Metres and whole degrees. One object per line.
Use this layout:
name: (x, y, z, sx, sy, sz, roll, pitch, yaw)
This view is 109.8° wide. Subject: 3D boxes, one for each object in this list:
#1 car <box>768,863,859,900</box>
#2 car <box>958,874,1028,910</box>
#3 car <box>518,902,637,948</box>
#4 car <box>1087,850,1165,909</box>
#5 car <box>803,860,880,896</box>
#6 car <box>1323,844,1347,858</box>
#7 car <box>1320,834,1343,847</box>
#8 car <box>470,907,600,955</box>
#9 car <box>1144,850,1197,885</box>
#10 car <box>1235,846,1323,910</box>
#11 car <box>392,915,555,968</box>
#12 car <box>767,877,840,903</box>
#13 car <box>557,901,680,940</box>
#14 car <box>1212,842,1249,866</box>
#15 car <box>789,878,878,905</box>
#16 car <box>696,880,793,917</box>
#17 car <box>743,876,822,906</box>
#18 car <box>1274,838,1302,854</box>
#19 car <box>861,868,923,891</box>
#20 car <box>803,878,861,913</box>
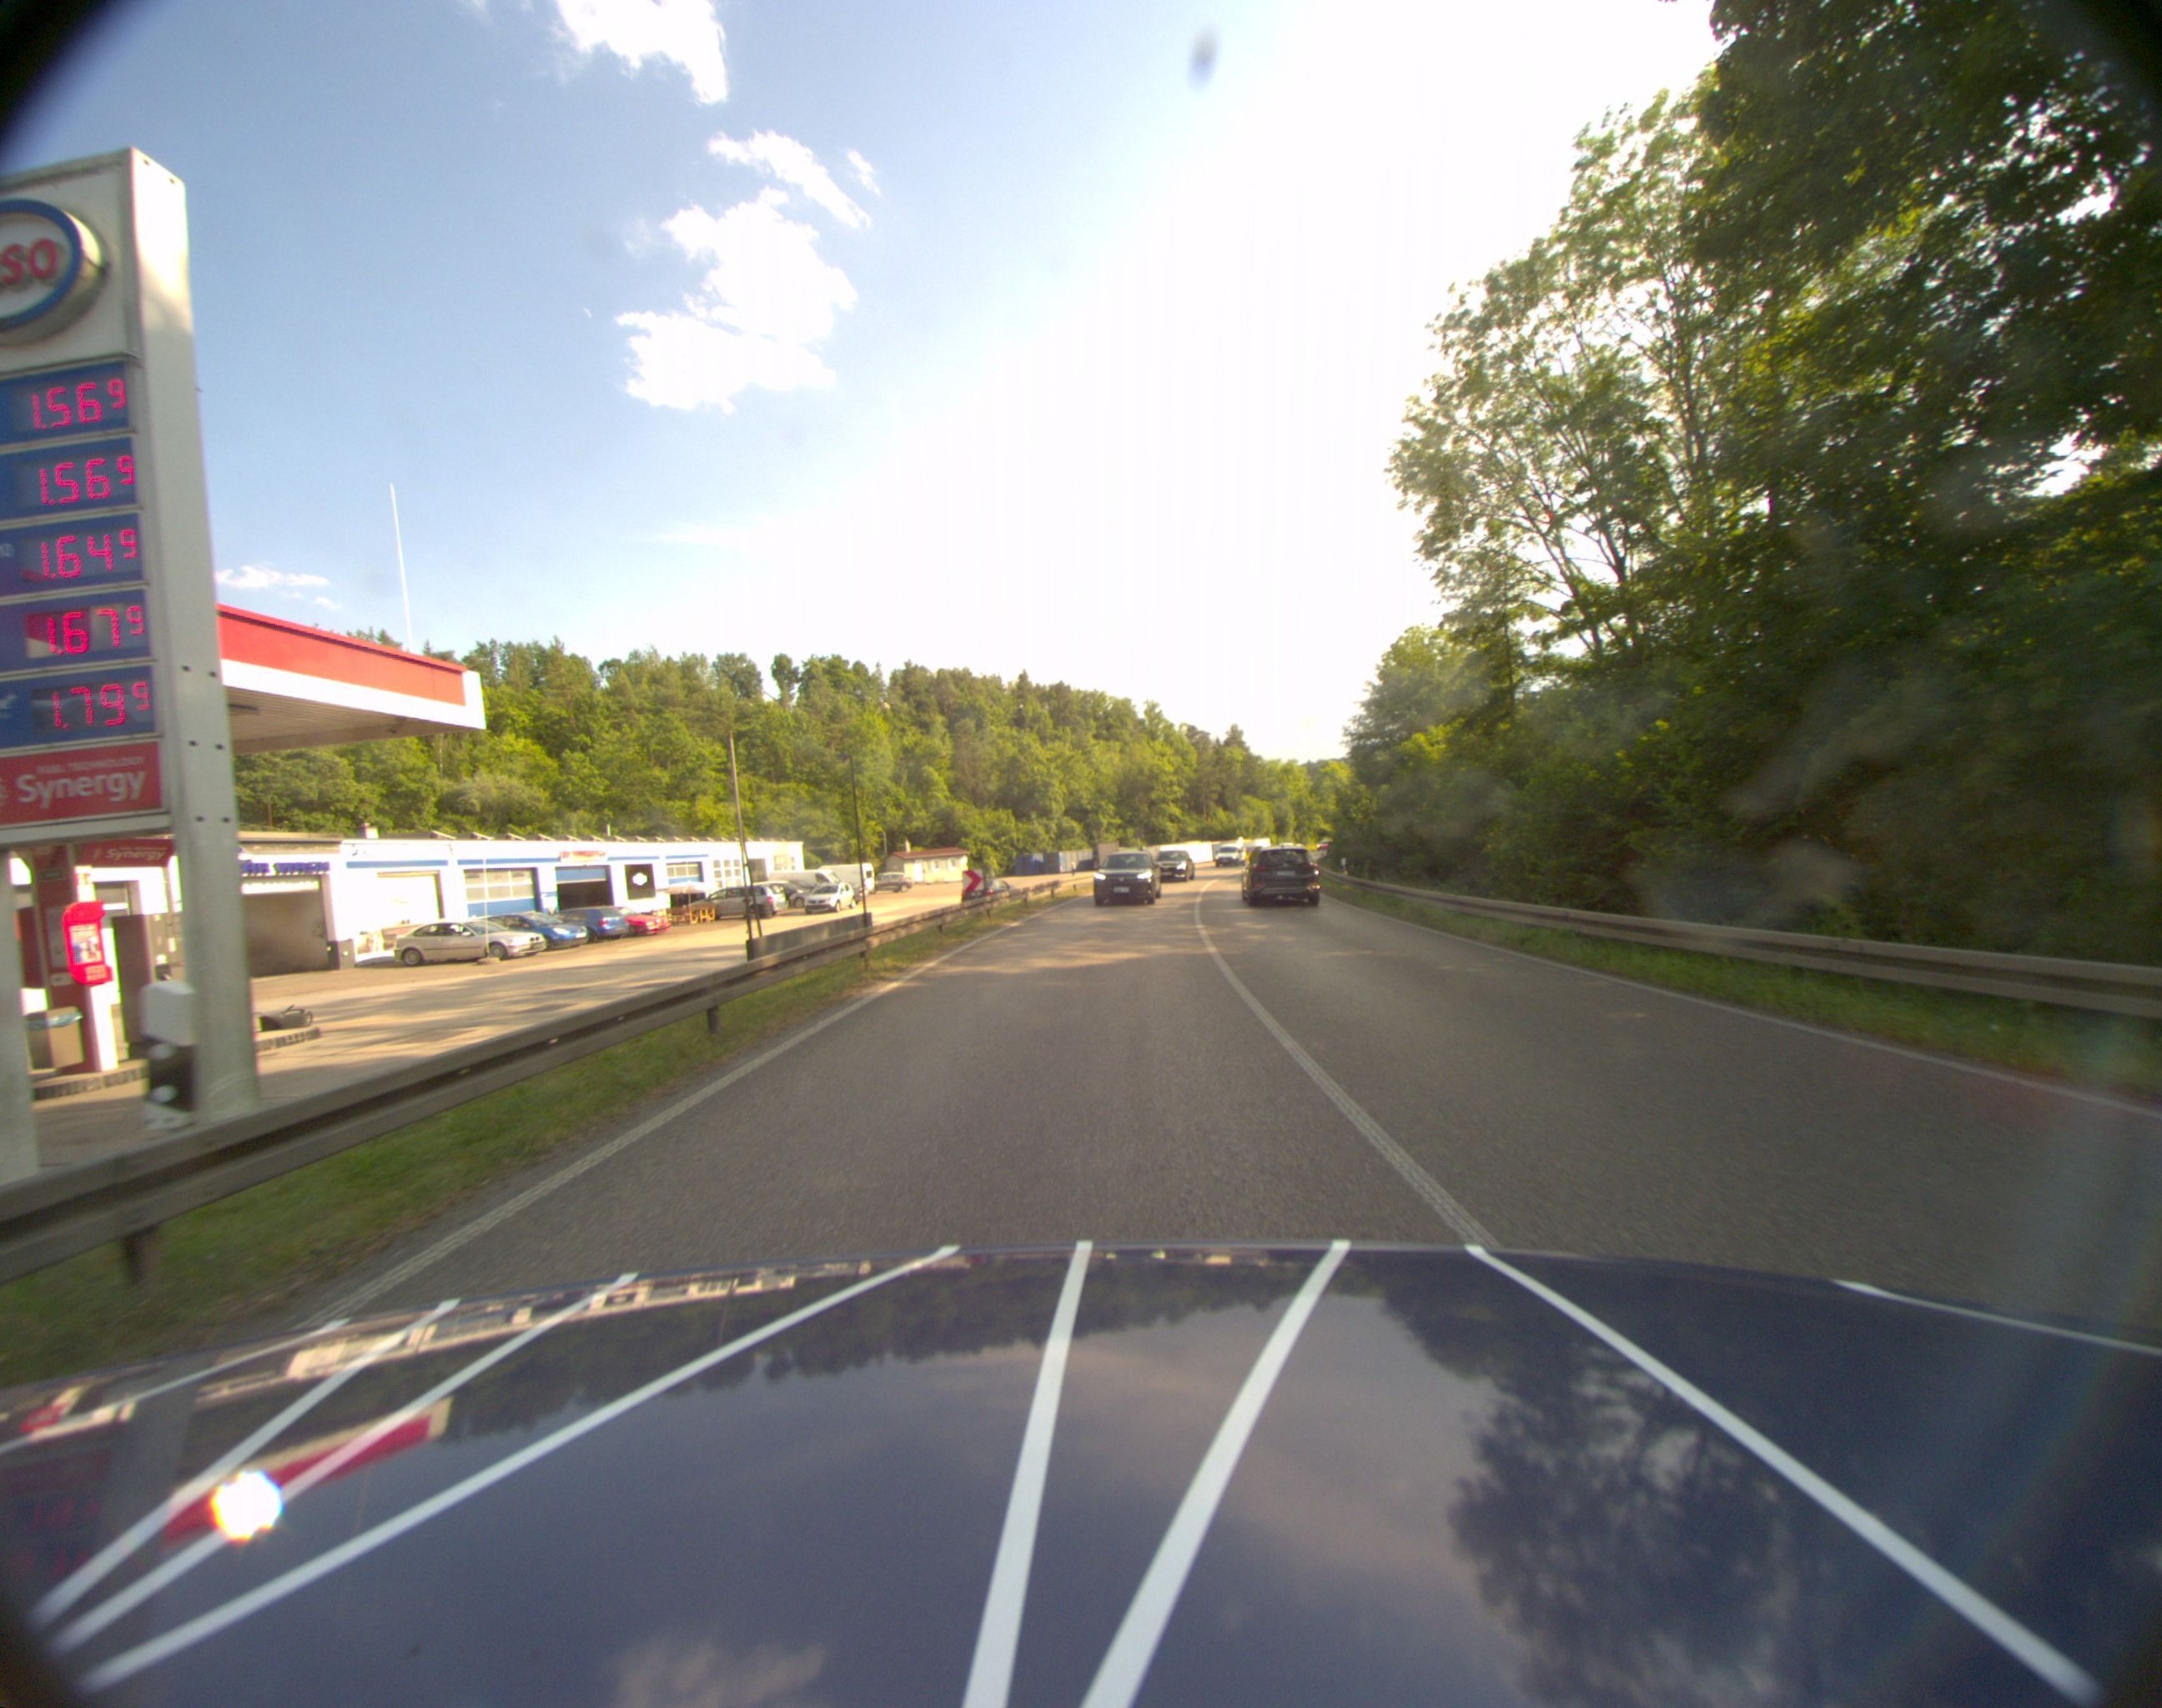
car: (-18.798, 1.936, 53.554, 5.486, 2.261, 2.296, -3, 1, 4)
car: (-4.097, 1.753, 36.046, 1.827, 1.345, 4.276, -3, 0, 14)
car: (-20.070, 2.816, 30.373, 3.552, 1.437, 1.734, -4, 1, 4)
car: (1.557, 0.737, 24.394, 1.858, 1.631, 4.444, -1, 1, 12)
car: (-18.003, 1.801, 57.320, 4.919, 2.435, 2.208, -3, 1, 2)
car: (29.074, -0.356, 86.951, 1.869, 1.580, 4.255, -1, 1, 28)
car: (33.785, -1.835, 102.477, 1.856, 1.412, 4.426, -5, 0, 32)
car: (-20.167, 2.833, 28.146, 3.558, 1.398, 1.691, -4, 1, 4)
car: (4.593, 0.638, 38.444, 1.846, 1.561, 4.261, -2, 1, 17)
car: (5.642, 0.649, 22.167, 1.871, 1.643, 4.552, -2, 0, 7)
car: (-20.339, 2.913, 25.565, 3.966, 1.347, 1.776, -3, 1, 0)
car: (-18.671, 2.418, 51.244, 4.168, 1.601, 1.925, -1, 1, 4)
car: (-19.717, 2.806, 32.480, 4.076, 1.340, 1.895, -3, 0, 4)
car: (12.097, -0.033, 61.248, 1.865, 1.710, 4.770, -4, 0, 23)
car: (-15.134, 2.279, 46.545, 4.730, 1.425, 1.957, -2, 1, 2)
car: (-17.810, 2.340, 40.344, 4.257, 1.719, 1.892, -2, 1, 2)
car: (-19.148, 2.369, 48.806, 4.249, 1.601, 1.895, -3, 1, 4)
car: (22.617, -0.923, 83.008, 1.894, 1.437, 4.482, -5, 0, 28)
car: (-15.375, 2.084, 61.783, 4.412, 1.659, 1.938, -2, -1, -36)
car: (-13.580, 2.240, 41.656, 1.794, 1.587, 3.988, -3, 0, 0)
